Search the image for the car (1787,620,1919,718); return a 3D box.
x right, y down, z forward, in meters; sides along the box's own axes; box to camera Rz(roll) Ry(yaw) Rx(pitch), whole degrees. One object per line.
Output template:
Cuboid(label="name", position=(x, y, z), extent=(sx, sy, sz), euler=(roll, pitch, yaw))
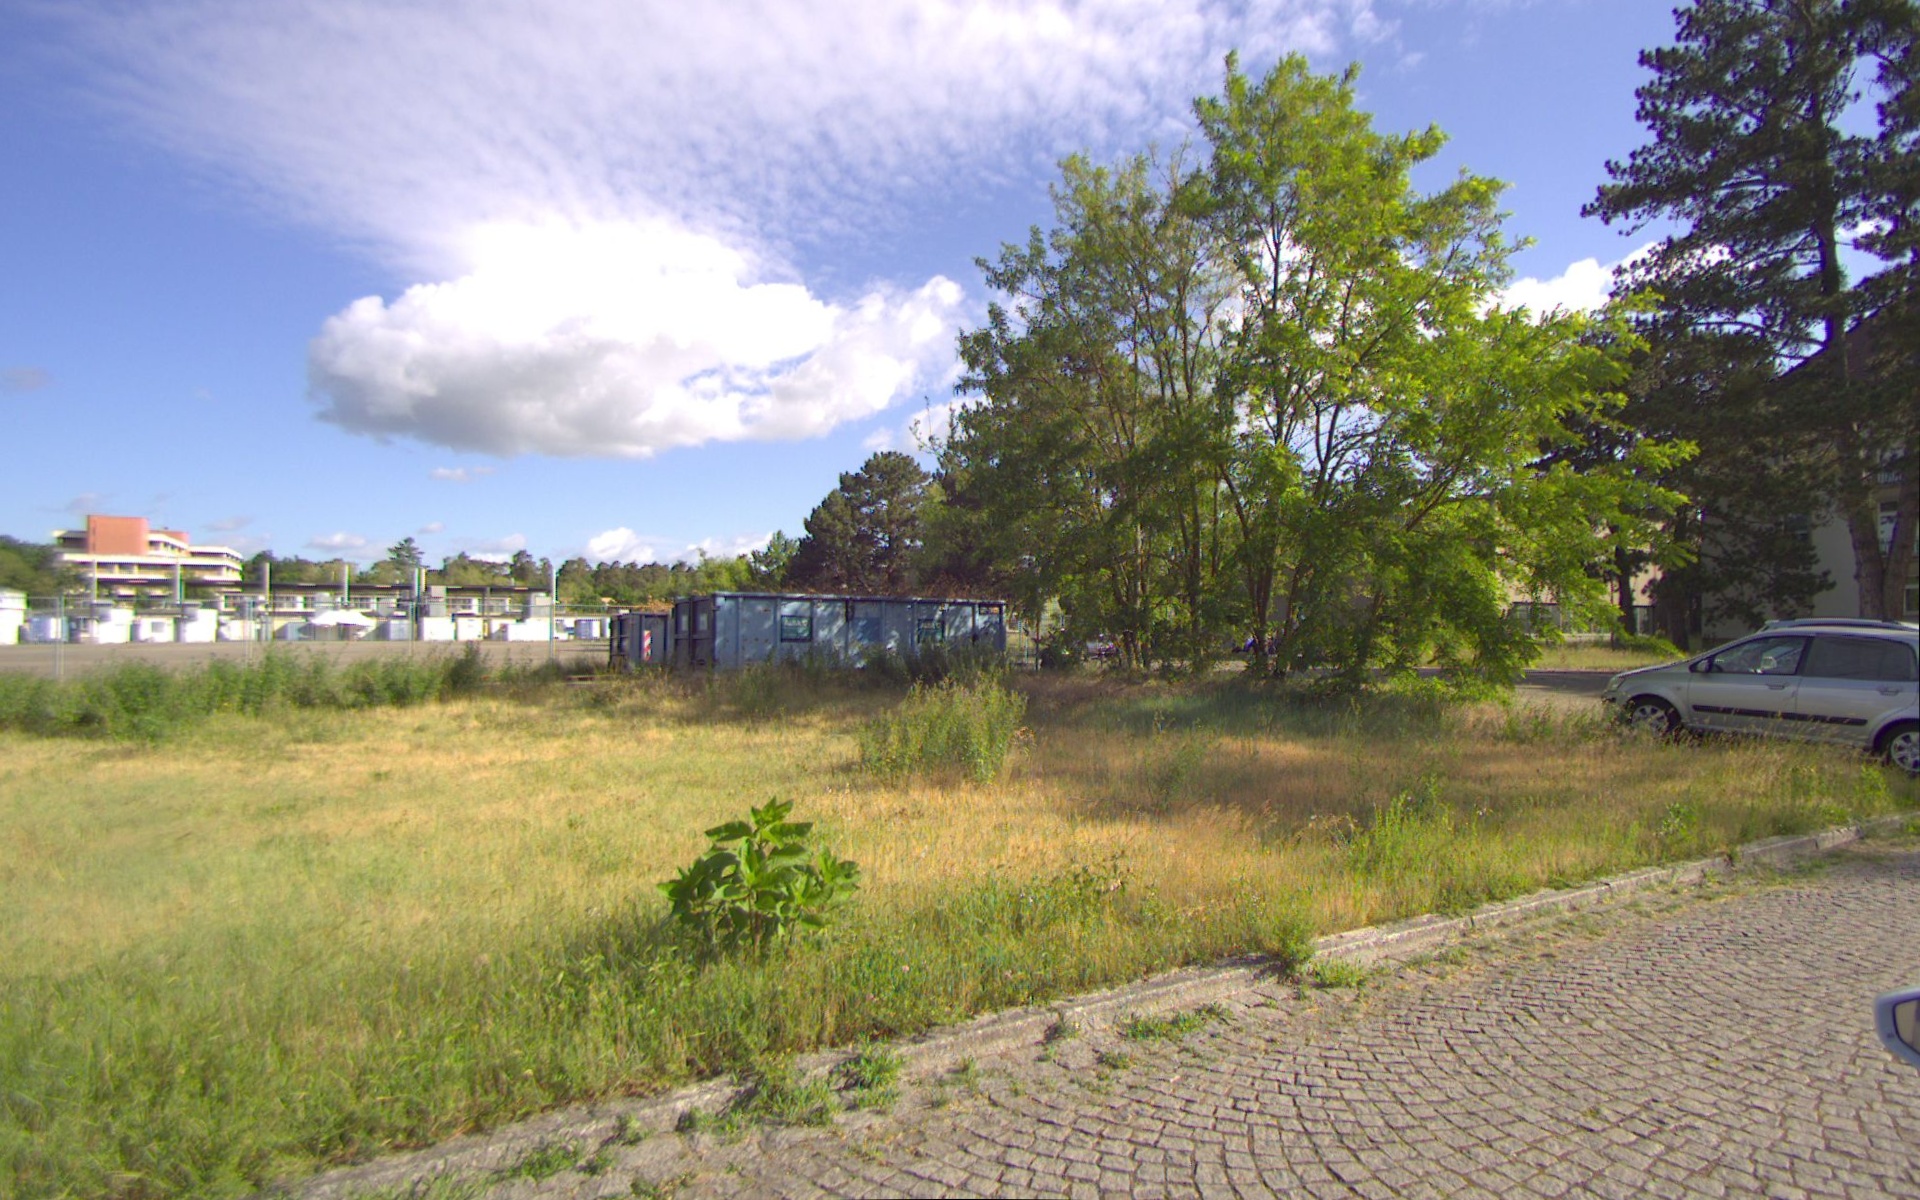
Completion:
Cuboid(label="car", position=(16.235, 1.145, 16.066), extent=(1.810, 1.488, 4.309), euler=(0, 1, -32))

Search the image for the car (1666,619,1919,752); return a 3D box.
Cuboid(label="car", position=(11.856, 1.057, 13.082), extent=(1.783, 1.500, 3.964), euler=(0, 1, -32))

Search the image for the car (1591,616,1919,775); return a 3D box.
Cuboid(label="car", position=(9.681, 0.993, 11.596), extent=(1.628, 1.507, 3.725), euler=(0, 1, -32))

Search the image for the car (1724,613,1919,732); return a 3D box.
Cuboid(label="car", position=(14.168, 1.051, 14.946), extent=(1.865, 1.614, 4.057), euler=(0, 1, -32))

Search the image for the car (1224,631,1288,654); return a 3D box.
Cuboid(label="car", position=(19.866, 2.839, 67.342), extent=(3.952, 1.452, 1.894), euler=(2, -2, -30))
